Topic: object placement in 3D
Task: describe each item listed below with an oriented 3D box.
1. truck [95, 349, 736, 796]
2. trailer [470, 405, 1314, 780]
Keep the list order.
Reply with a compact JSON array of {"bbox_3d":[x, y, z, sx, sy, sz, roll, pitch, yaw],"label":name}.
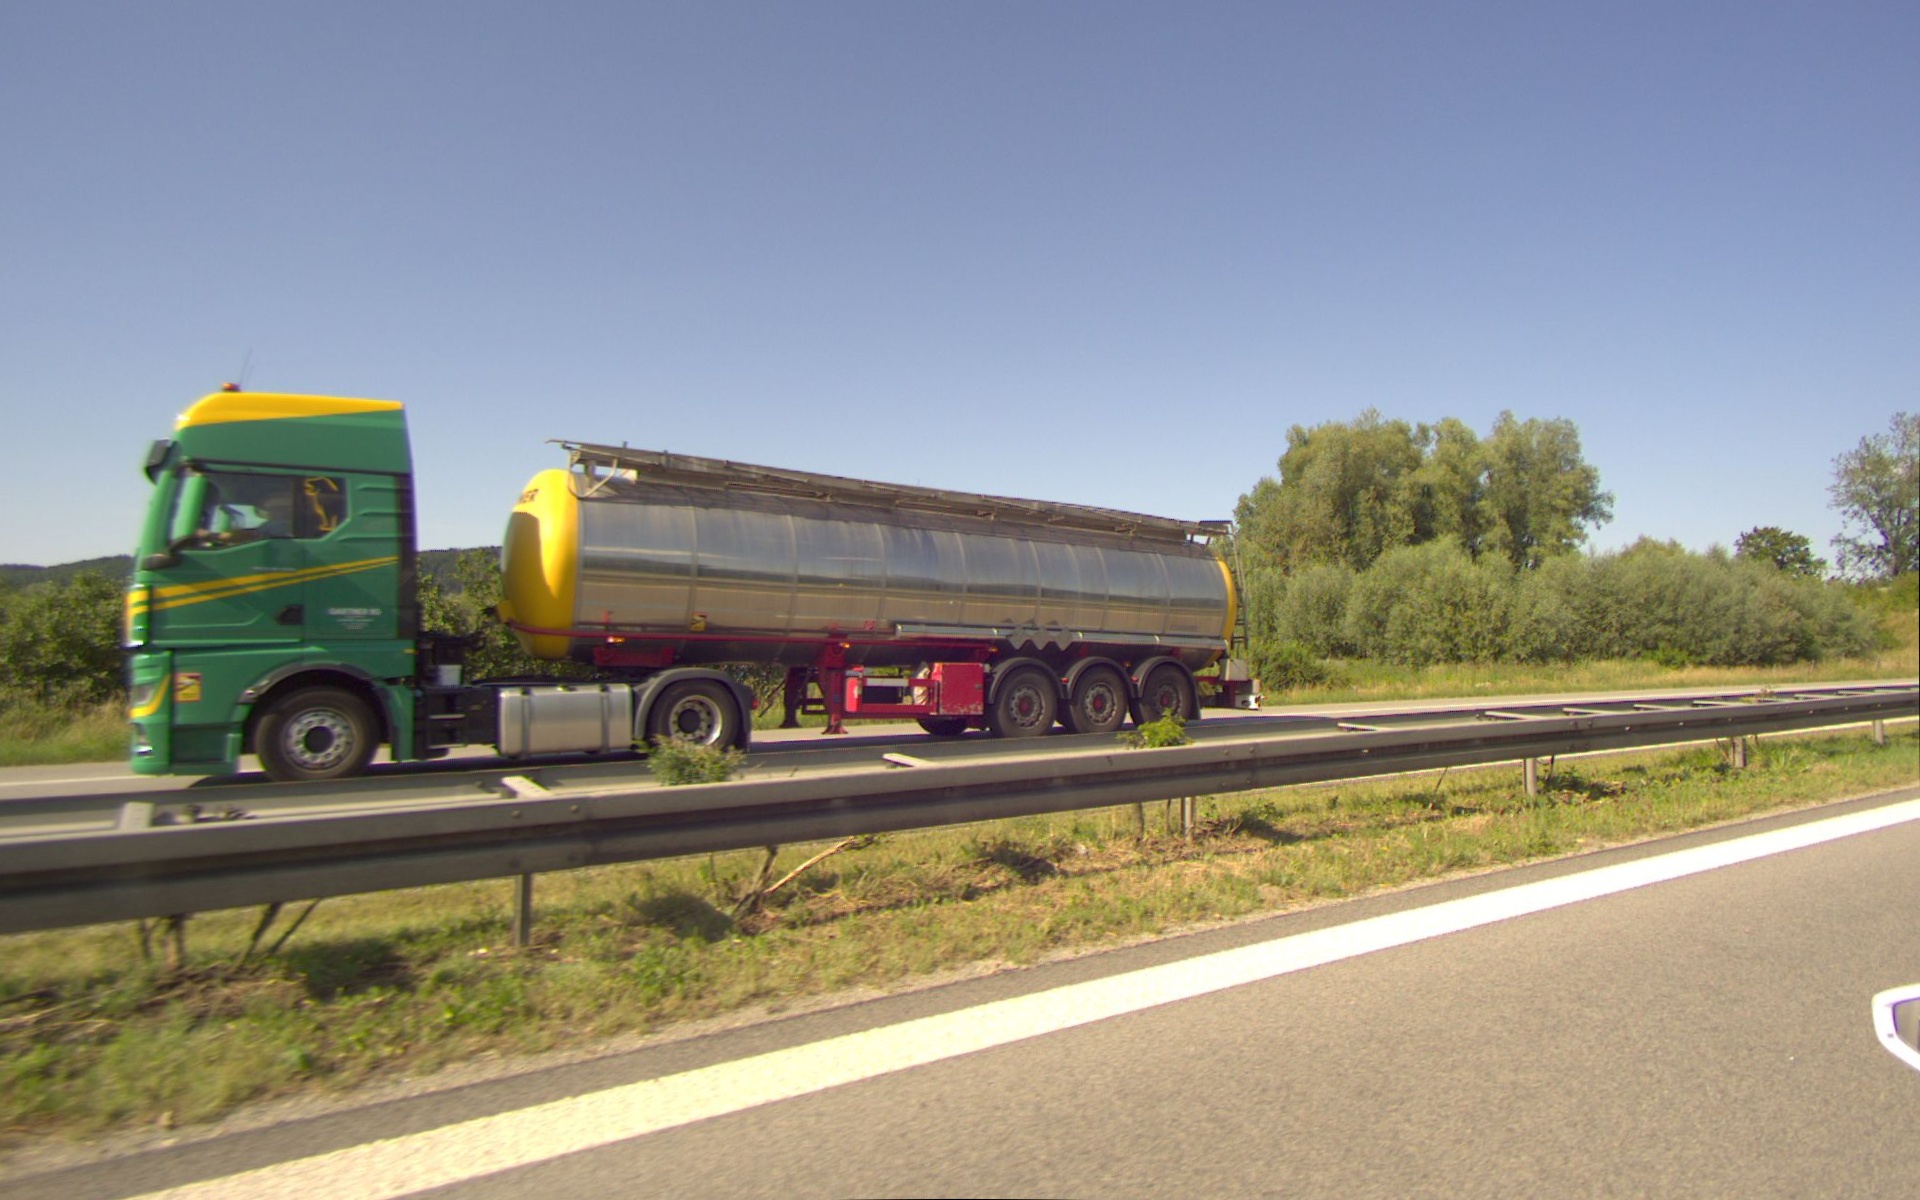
[{"bbox_3d":[-5.656,-0.120,11.208,5.506,3.780,2.940,2,-3,-32],"label":"truck"},{"bbox_3d":[-0.158,0.132,14.613,12.279,3.779,2.965,2,-3,-31],"label":"trailer"}]
